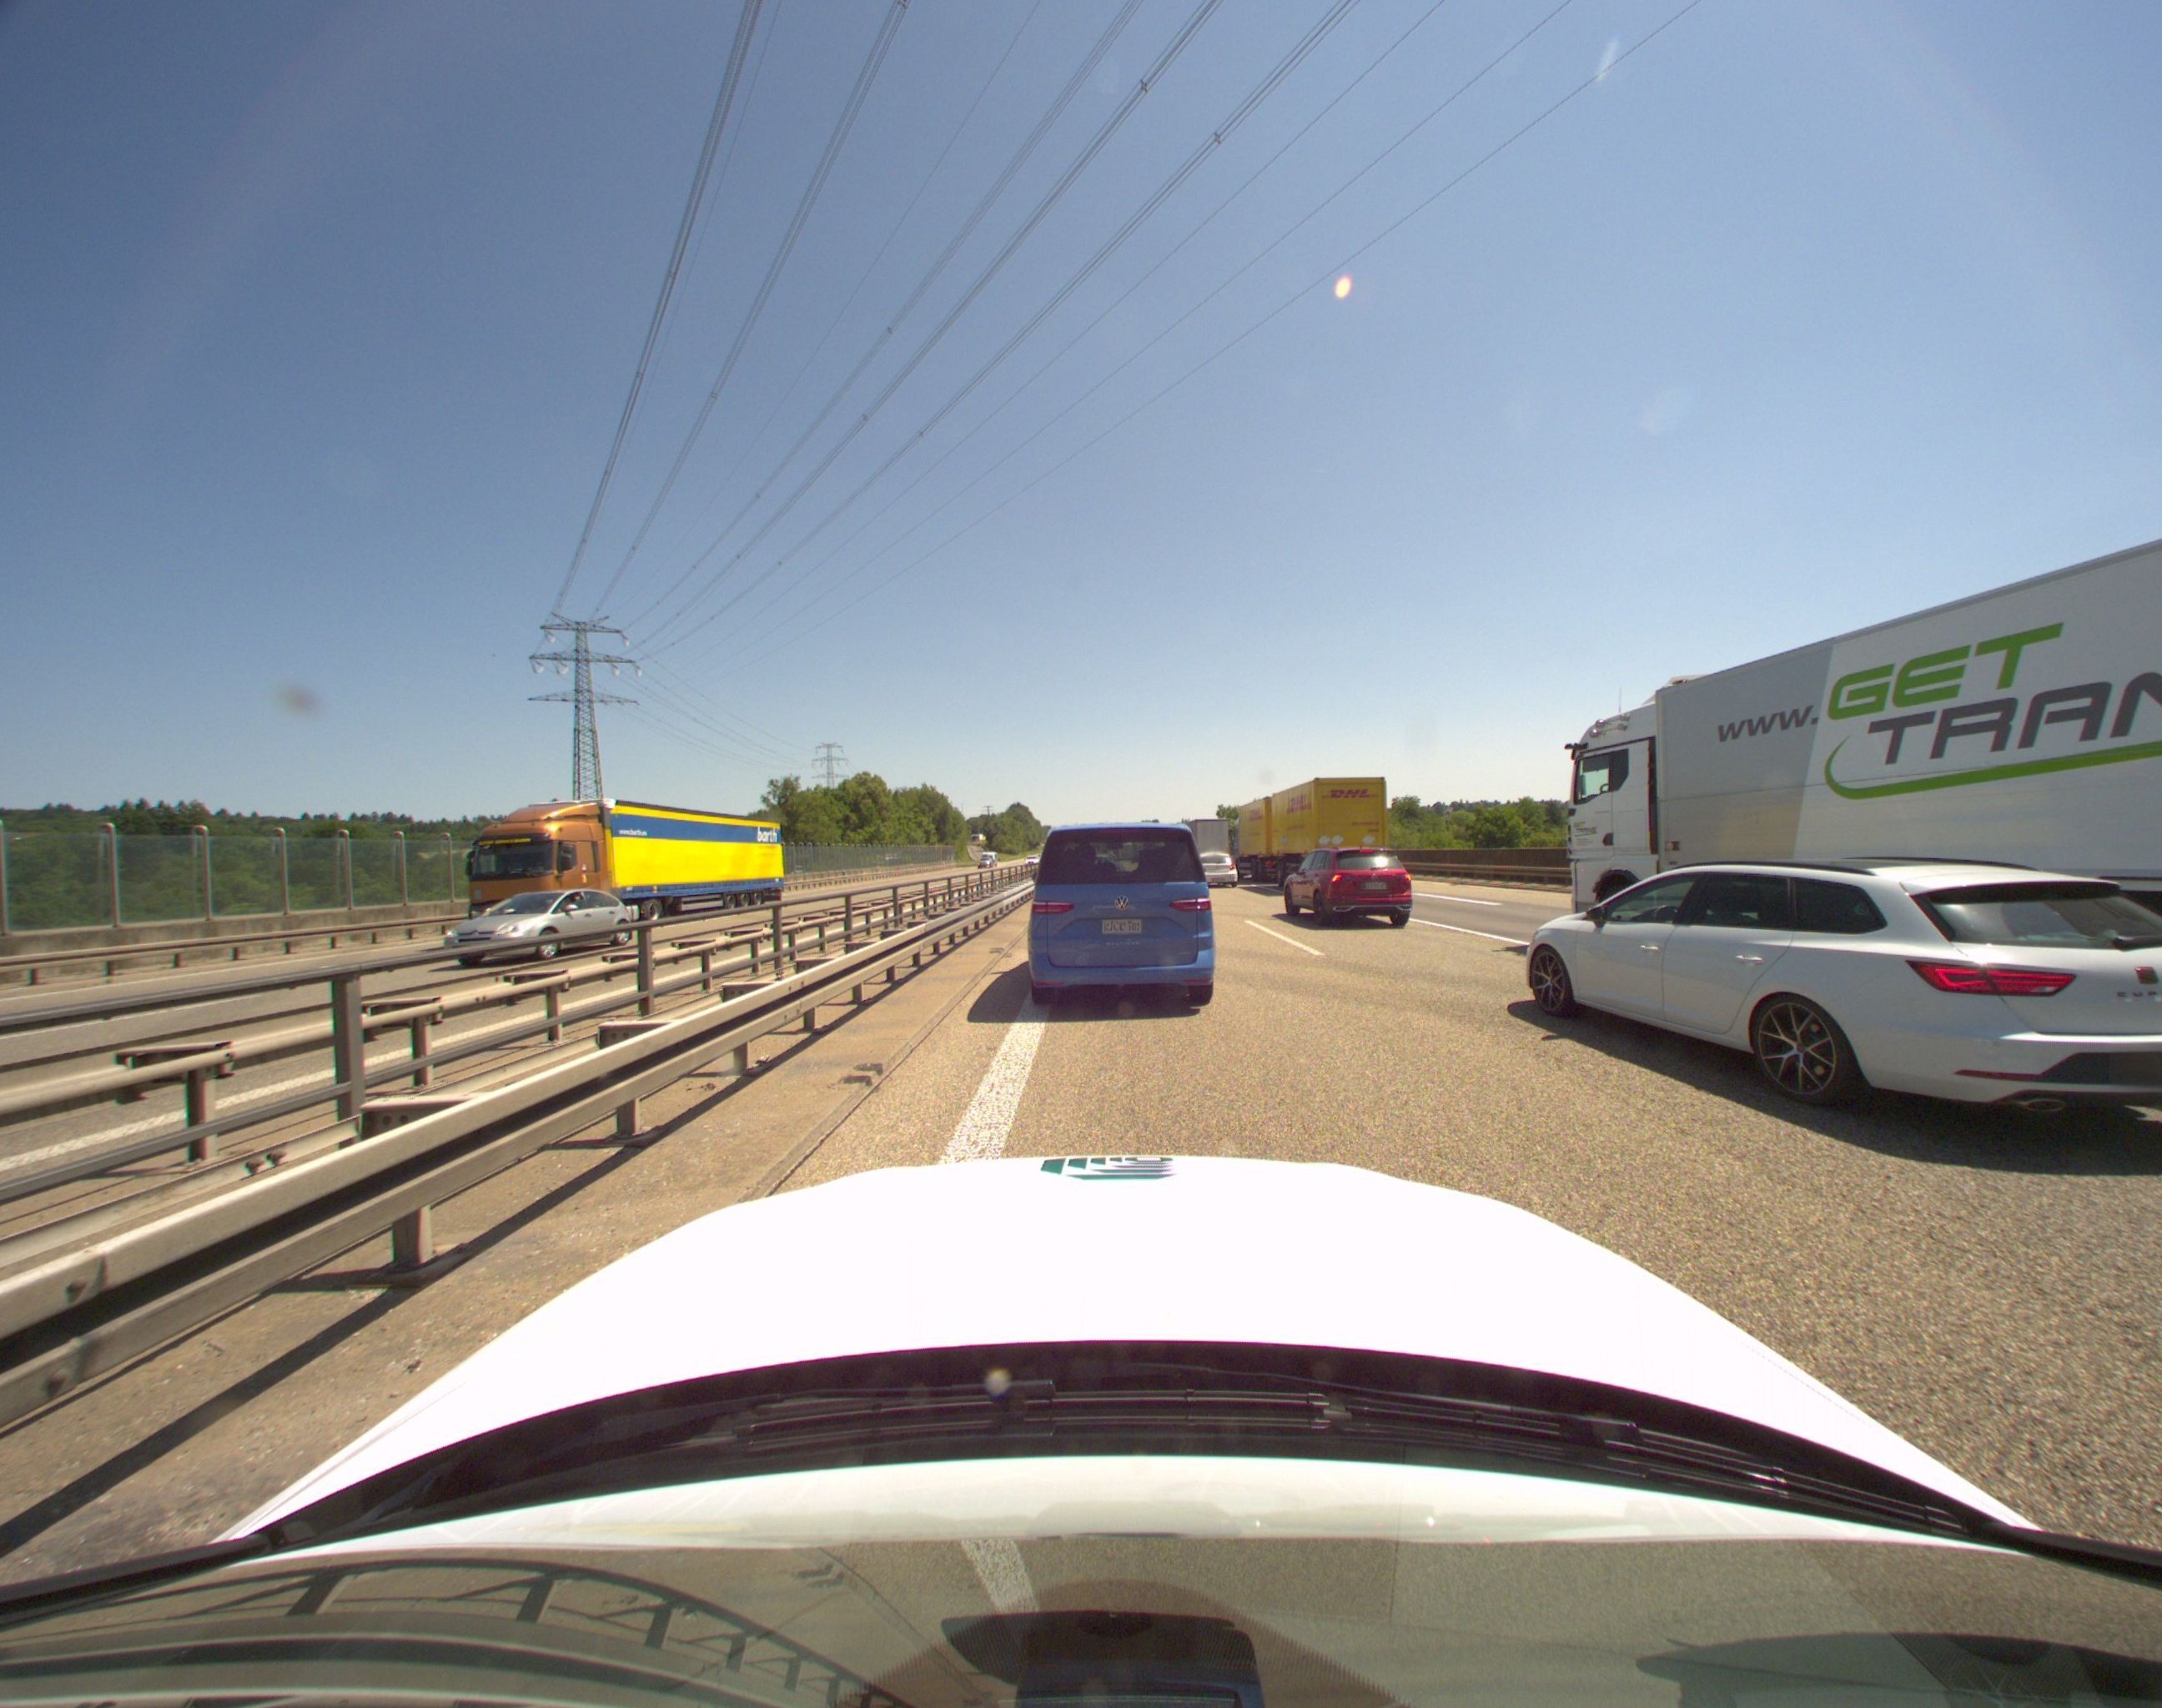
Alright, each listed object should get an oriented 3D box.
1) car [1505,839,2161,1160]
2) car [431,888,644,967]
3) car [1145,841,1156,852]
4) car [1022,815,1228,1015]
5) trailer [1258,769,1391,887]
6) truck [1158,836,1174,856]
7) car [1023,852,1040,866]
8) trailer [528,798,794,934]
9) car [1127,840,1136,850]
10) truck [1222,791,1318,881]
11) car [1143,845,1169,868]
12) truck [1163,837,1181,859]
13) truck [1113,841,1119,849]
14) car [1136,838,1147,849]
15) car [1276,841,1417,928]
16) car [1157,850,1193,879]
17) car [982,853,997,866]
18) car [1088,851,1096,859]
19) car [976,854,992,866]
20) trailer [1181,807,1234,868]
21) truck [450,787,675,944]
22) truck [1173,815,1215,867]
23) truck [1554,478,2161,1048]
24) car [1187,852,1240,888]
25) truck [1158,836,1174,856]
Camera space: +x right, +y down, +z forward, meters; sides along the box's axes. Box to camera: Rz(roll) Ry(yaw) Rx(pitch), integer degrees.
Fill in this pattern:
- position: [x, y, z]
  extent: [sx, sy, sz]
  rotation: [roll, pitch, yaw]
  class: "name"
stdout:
- position: [5.045, 0.646, 5.916]
  extent: [1.702, 1.451, 4.430]
  rotation: [0, 0, 1]
  class: "car"
- position: [-11.681, 1.522, 17.876]
  extent: [1.681, 1.303, 4.017]
  rotation: [-4, -1, 5]
  class: "car"
- position: [11.919, -1.286, 140.294]
  extent: [1.591, 1.751, 3.945]
  rotation: [-1, -1, 2]
  class: "car"
- position: [0.467, 0.596, 9.694]
  extent: [1.923, 1.874, 4.001]
  rotation: [-1, -1, 1]
  class: "car"
- position: [9.467, -0.869, 32.829]
  extent: [2.674, 4.088, 8.979]
  rotation: [0, -1, 0]
  class: "trailer"
- position: [11.264, -1.049, 108.150]
  extent: [1.790, 2.596, 4.307]
  rotation: [-1, -1, 2]
  class: "truck"
- position: [-6.532, 0.628, 107.460]
  extent: [1.835, 1.751, 3.945]
  rotation: [-1, -1, 2]
  class: "car"
- position: [-15.403, 0.440, 32.069]
  extent: [2.618, 4.114, 14.023]
  rotation: [-2, -1, 2]
  class: "trailer"
- position: [11.013, -1.906, 178.334]
  extent: [1.986, 2.014, 4.001]
  rotation: [-1, -1, 2]
  class: "car"
- position: [9.513, -0.780, 42.257]
  extent: [2.690, 4.088, 9.939]
  rotation: [0, -1, 1]
  class: "truck"
- position: [6.437, 0.212, 69.804]
  extent: [1.955, 1.936, 3.933]
  rotation: [-1, -1, 1]
  class: "car"
- position: [10.490, -0.649, 94.141]
  extent: [1.791, 2.449, 4.506]
  rotation: [-1, -1, 2]
  class: "truck"
- position: [11.267, -2.779, 260.438]
  extent: [1.986, 2.585, 4.554]
  rotation: [-1, -1, 2]
  class: "truck"
- position: [11.811, -2.048, 159.189]
  extent: [1.986, 2.014, 4.001]
  rotation: [-1, -1, 2]
  class: "car"
- position: [5.685, 0.590, 17.987]
  extent: [1.703, 1.679, 4.284]
  rotation: [0, 0, 0]
  class: "car"
- position: [5.625, 0.639, 49.305]
  extent: [1.808, 1.679, 3.933]
  rotation: [-1, -1, 1]
  class: "car"
- position: [-14.007, 0.858, 124.799]
  extent: [1.835, 2.042, 3.945]
  rotation: [-1, -1, 2]
  class: "car"
- position: [2.991, 0.220, 211.797]
  extent: [1.986, 2.014, 4.001]
  rotation: [-1, -1, 2]
  class: "car"
- position: [-14.126, 0.904, 118.681]
  extent: [1.835, 1.751, 3.945]
  rotation: [-1, -1, 2]
  class: "car"
- position: [10.225, -1.214, 67.161]
  extent: [3.015, 4.611, 10.929]
  rotation: [-1, -1, 2]
  class: "trailer"
- position: [-15.693, 0.344, 25.312]
  extent: [2.661, 4.185, 6.291]
  rotation: [-2, -1, 2]
  class: "truck"
- position: [10.538, -1.107, 76.598]
  extent: [3.015, 4.611, 7.924]
  rotation: [-1, -1, 2]
  class: "truck"
- position: [8.926, -0.616, 7.740]
  extent: [2.842, 3.934, 10.611]
  rotation: [0, -1, 1]
  class: "truck"
- position: [5.803, 0.690, 35.996]
  extent: [1.808, 1.470, 3.933]
  rotation: [-1, -1, 1]
  class: "car"
- position: [10.693, -0.987, 102.868]
  extent: [1.735, 2.549, 4.211]
  rotation: [-1, -1, 2]
  class: "truck"
